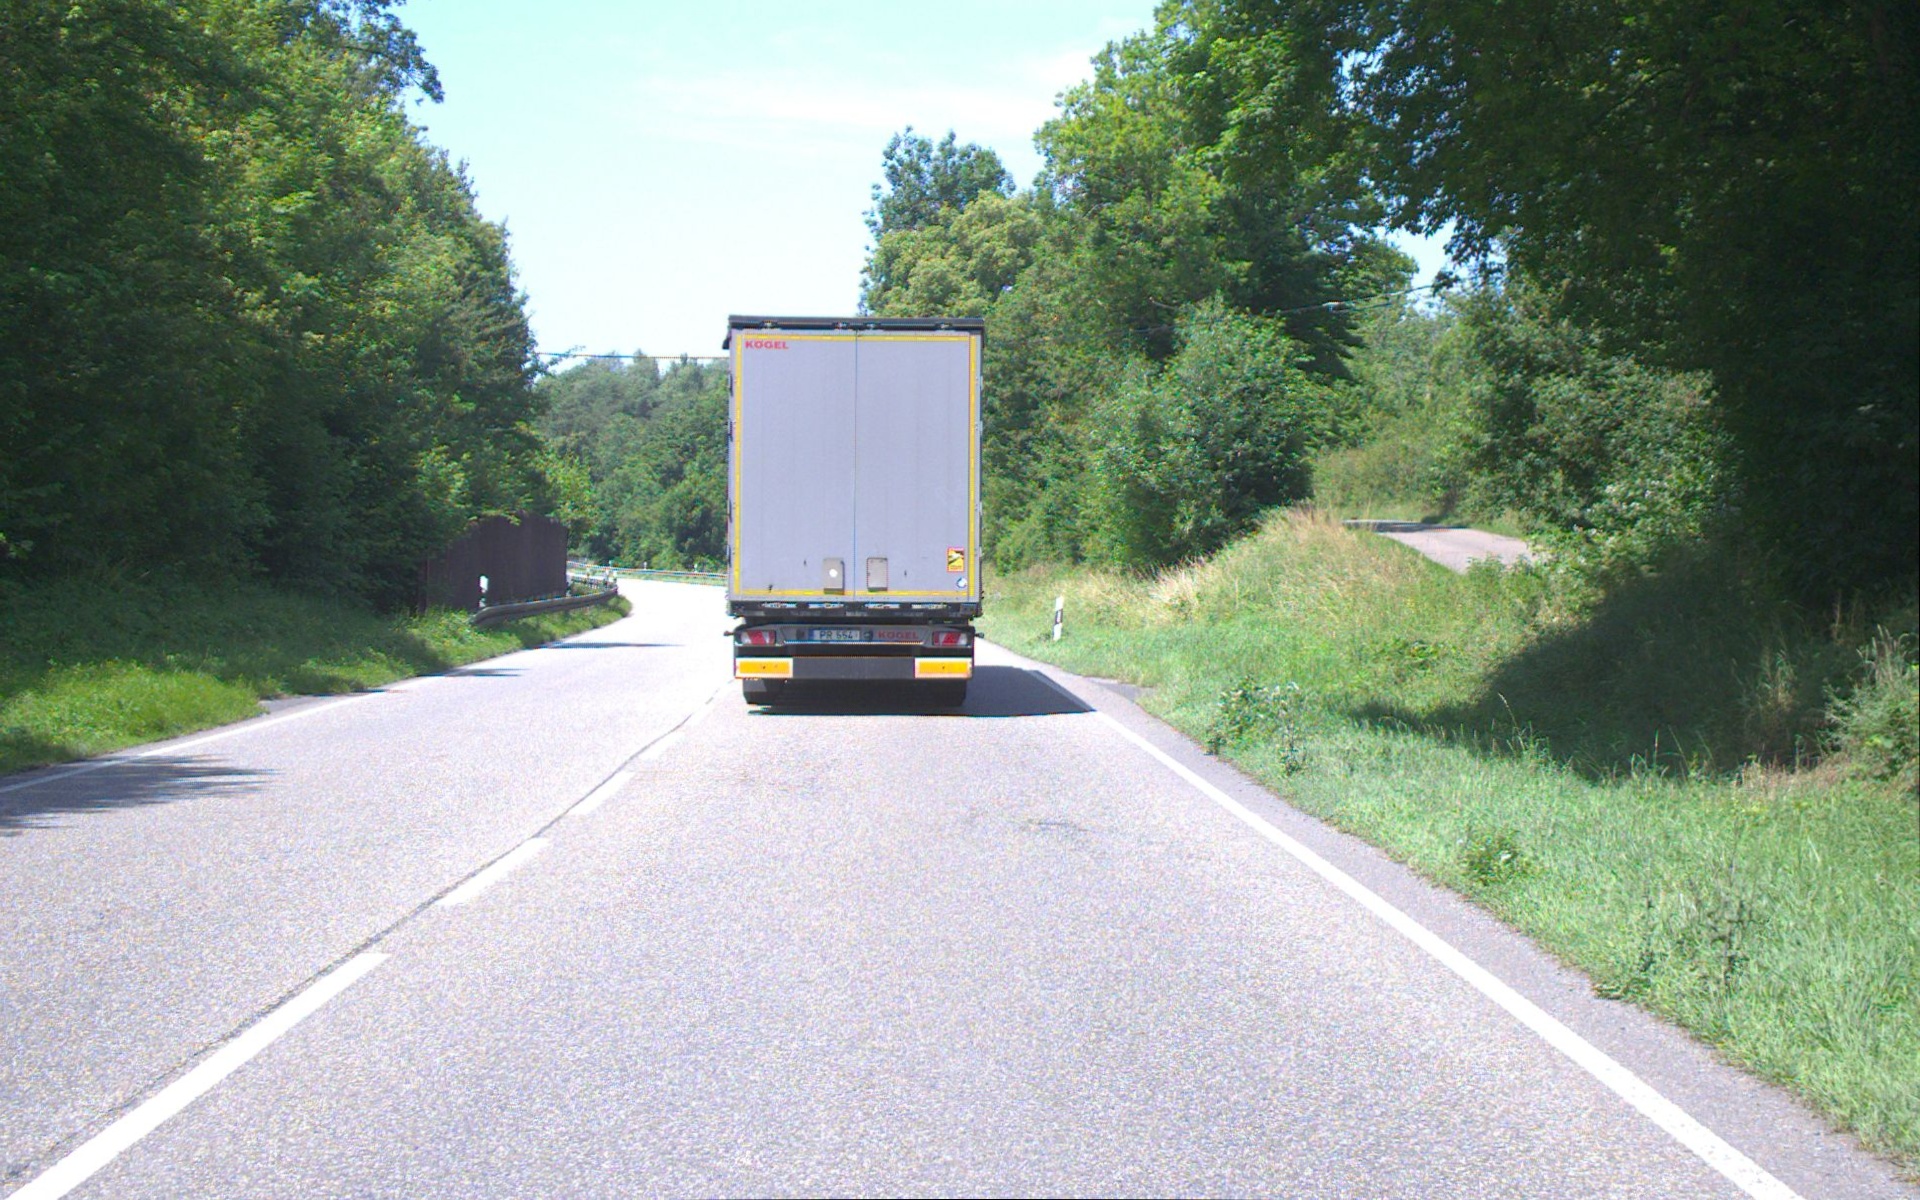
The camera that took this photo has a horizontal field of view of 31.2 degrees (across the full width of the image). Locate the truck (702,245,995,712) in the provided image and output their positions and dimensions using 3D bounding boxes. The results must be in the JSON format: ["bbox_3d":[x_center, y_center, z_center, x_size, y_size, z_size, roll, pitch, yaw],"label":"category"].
[{"bbox_3d":[-1.066,-1.189,37.230,2.822,4.588,6.665,0,0,1],"label":"truck"}]
